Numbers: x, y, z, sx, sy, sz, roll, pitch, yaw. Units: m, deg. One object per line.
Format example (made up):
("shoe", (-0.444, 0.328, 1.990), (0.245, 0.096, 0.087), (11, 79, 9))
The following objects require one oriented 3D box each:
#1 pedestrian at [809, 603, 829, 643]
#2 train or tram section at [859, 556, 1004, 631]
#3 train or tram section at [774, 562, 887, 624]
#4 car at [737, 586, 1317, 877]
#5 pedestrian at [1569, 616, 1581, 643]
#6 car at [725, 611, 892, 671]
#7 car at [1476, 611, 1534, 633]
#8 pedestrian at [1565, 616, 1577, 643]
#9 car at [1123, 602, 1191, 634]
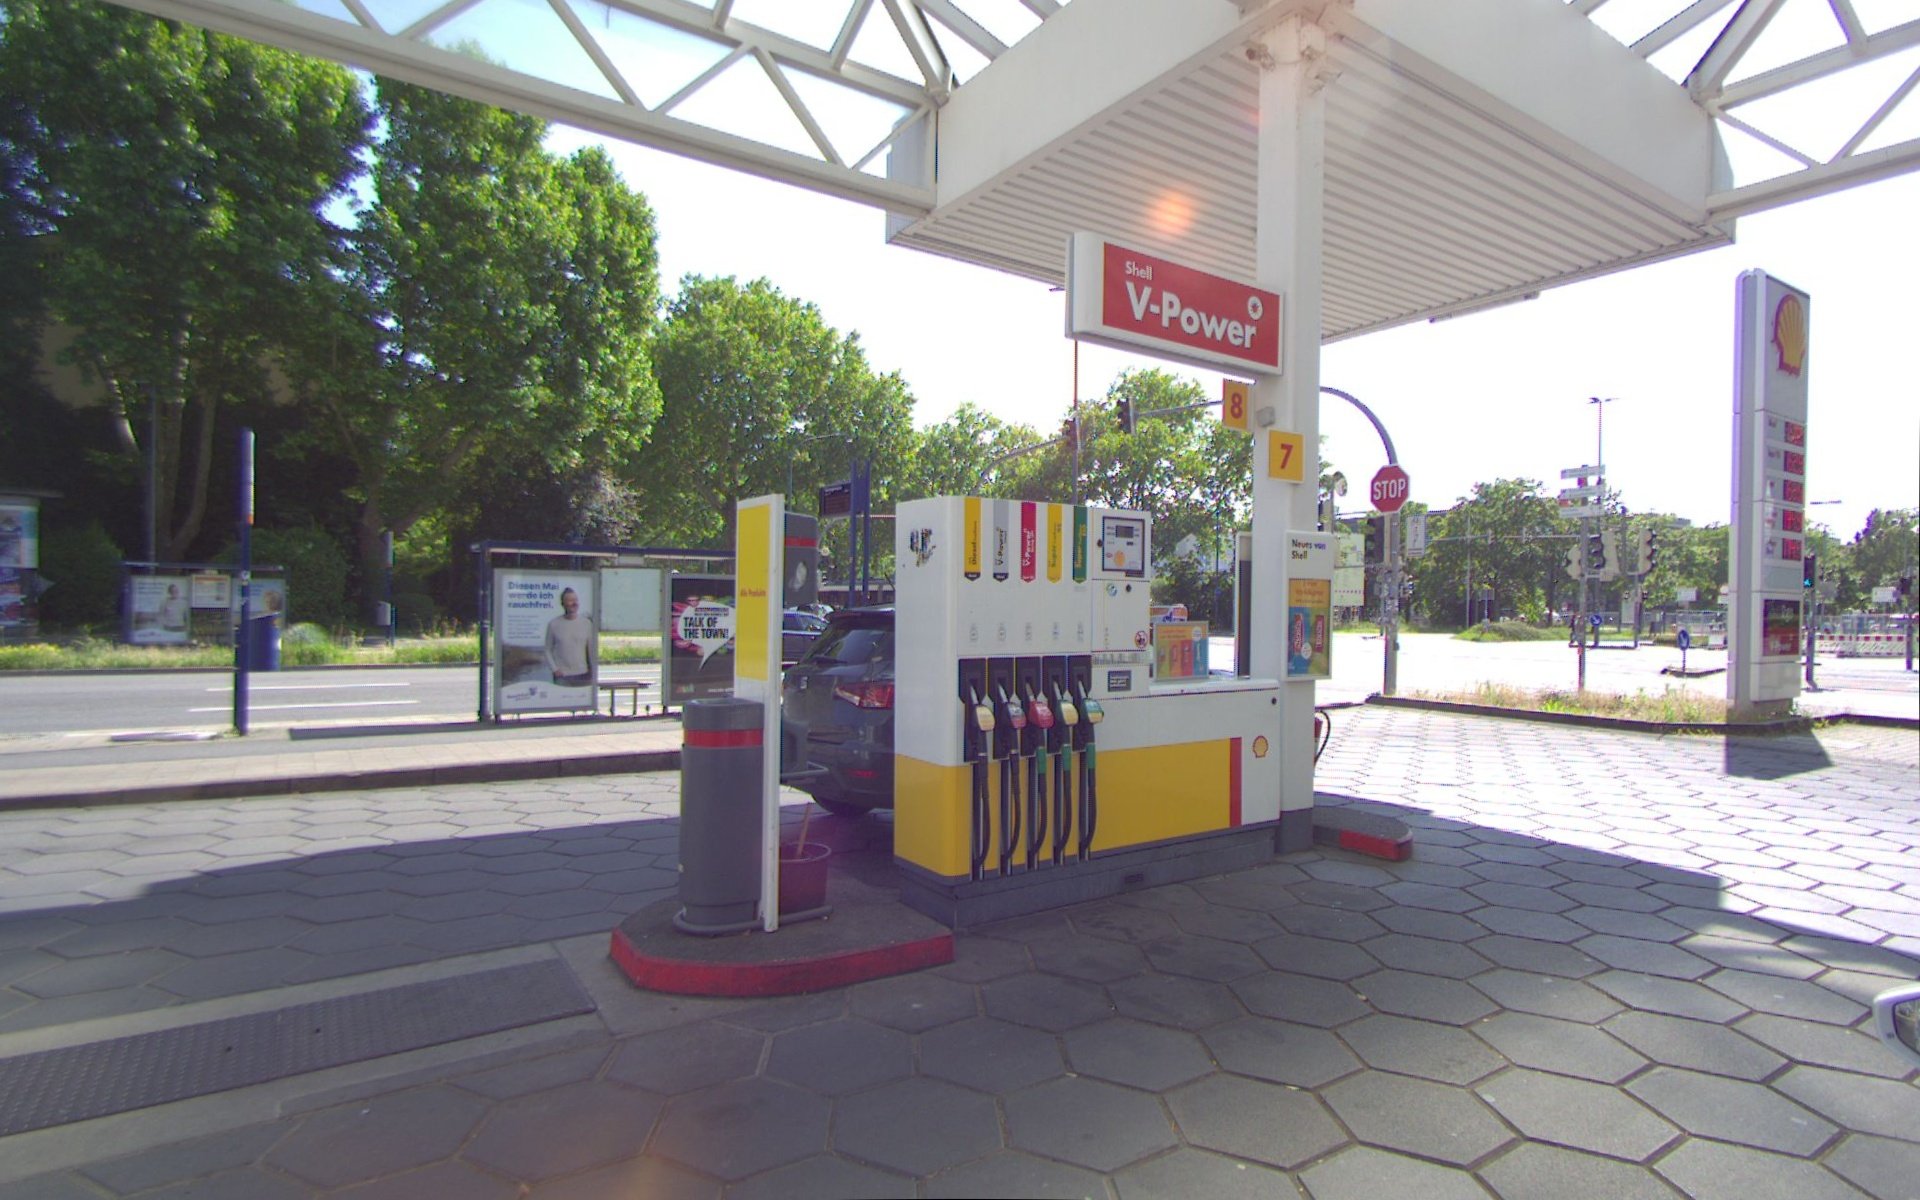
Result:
("pedestrian", (-6.664, 1.090, 47.601), (0.757, 1.881, 0.725), (0, -2, 9))
("train or tram section", (-2.341, -0.375, 67.925), (2.304, 4.549, 14.805), (1, -1, -33))
("train or tram section", (-10.748, -0.522, 80.715), (2.304, 4.549, 15.777), (1, -1, -33))
("car", (0.601, 0.765, 7.224), (3.959, 1.552, 1.733), (2, -2, -34))
("pedestrian", (34.100, 1.651, 55.711), (0.555, 1.488, 0.512), (1, 0, 32))
("car", (-3.890, 1.034, 26.019), (3.961, 1.385, 1.669), (1, 2, -34))
("car", (46.408, 1.900, 85.613), (1.976, 1.839, 3.970), (1, -2, -29))
("pedestrian", (34.603, 1.656, 56.883), (0.555, 1.488, 0.512), (1, 0, 32))
("car", (13.300, 1.265, 68.135), (1.981, 2.040, 4.402), (2, -2, -36))
